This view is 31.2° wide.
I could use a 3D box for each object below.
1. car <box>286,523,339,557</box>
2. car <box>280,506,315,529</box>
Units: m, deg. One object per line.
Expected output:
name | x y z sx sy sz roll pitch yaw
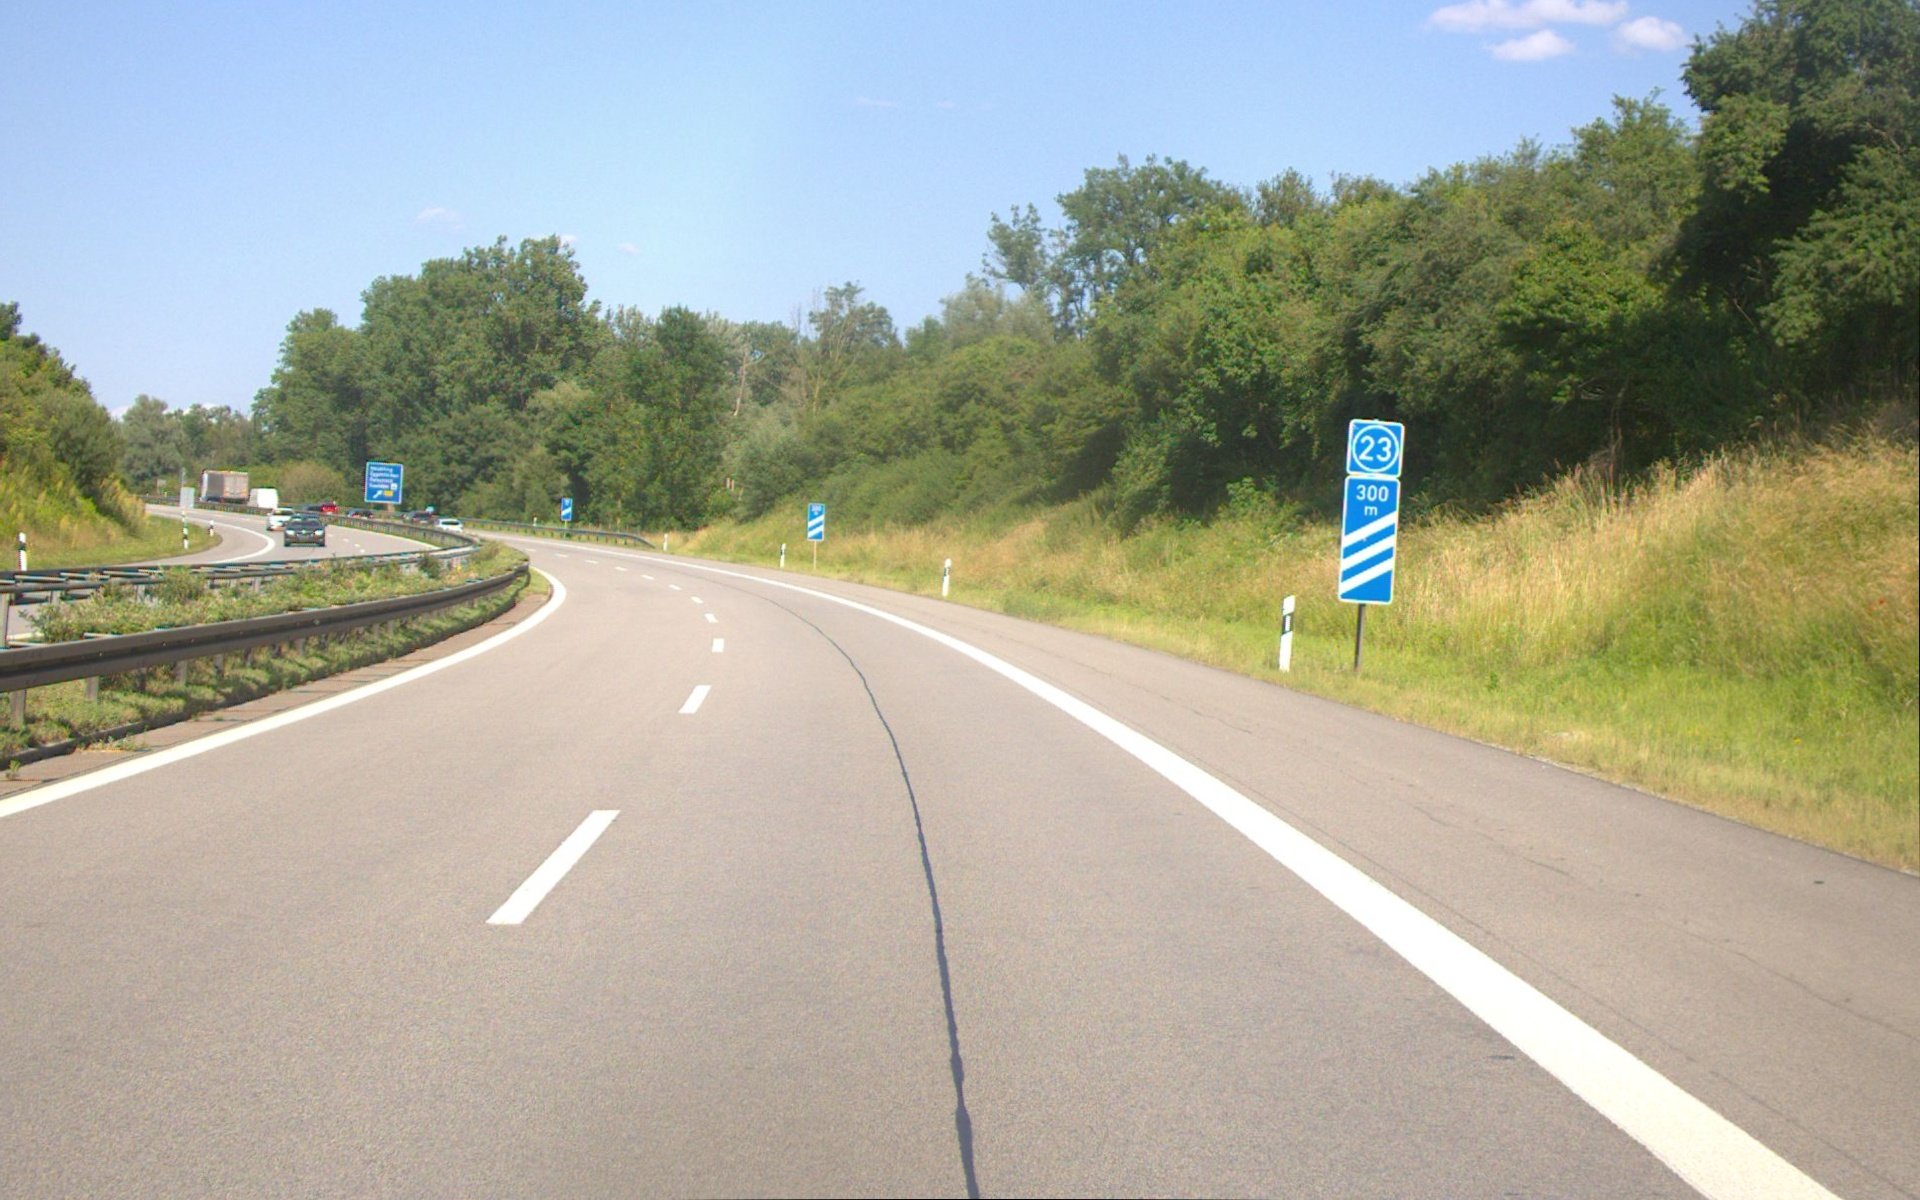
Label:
car | -30.023 -2.800 159.533 1.966 1.559 5.175 0 1 -5
car | -41.483 -5.189 215.313 1.899 1.417 4.400 0 2 -7
